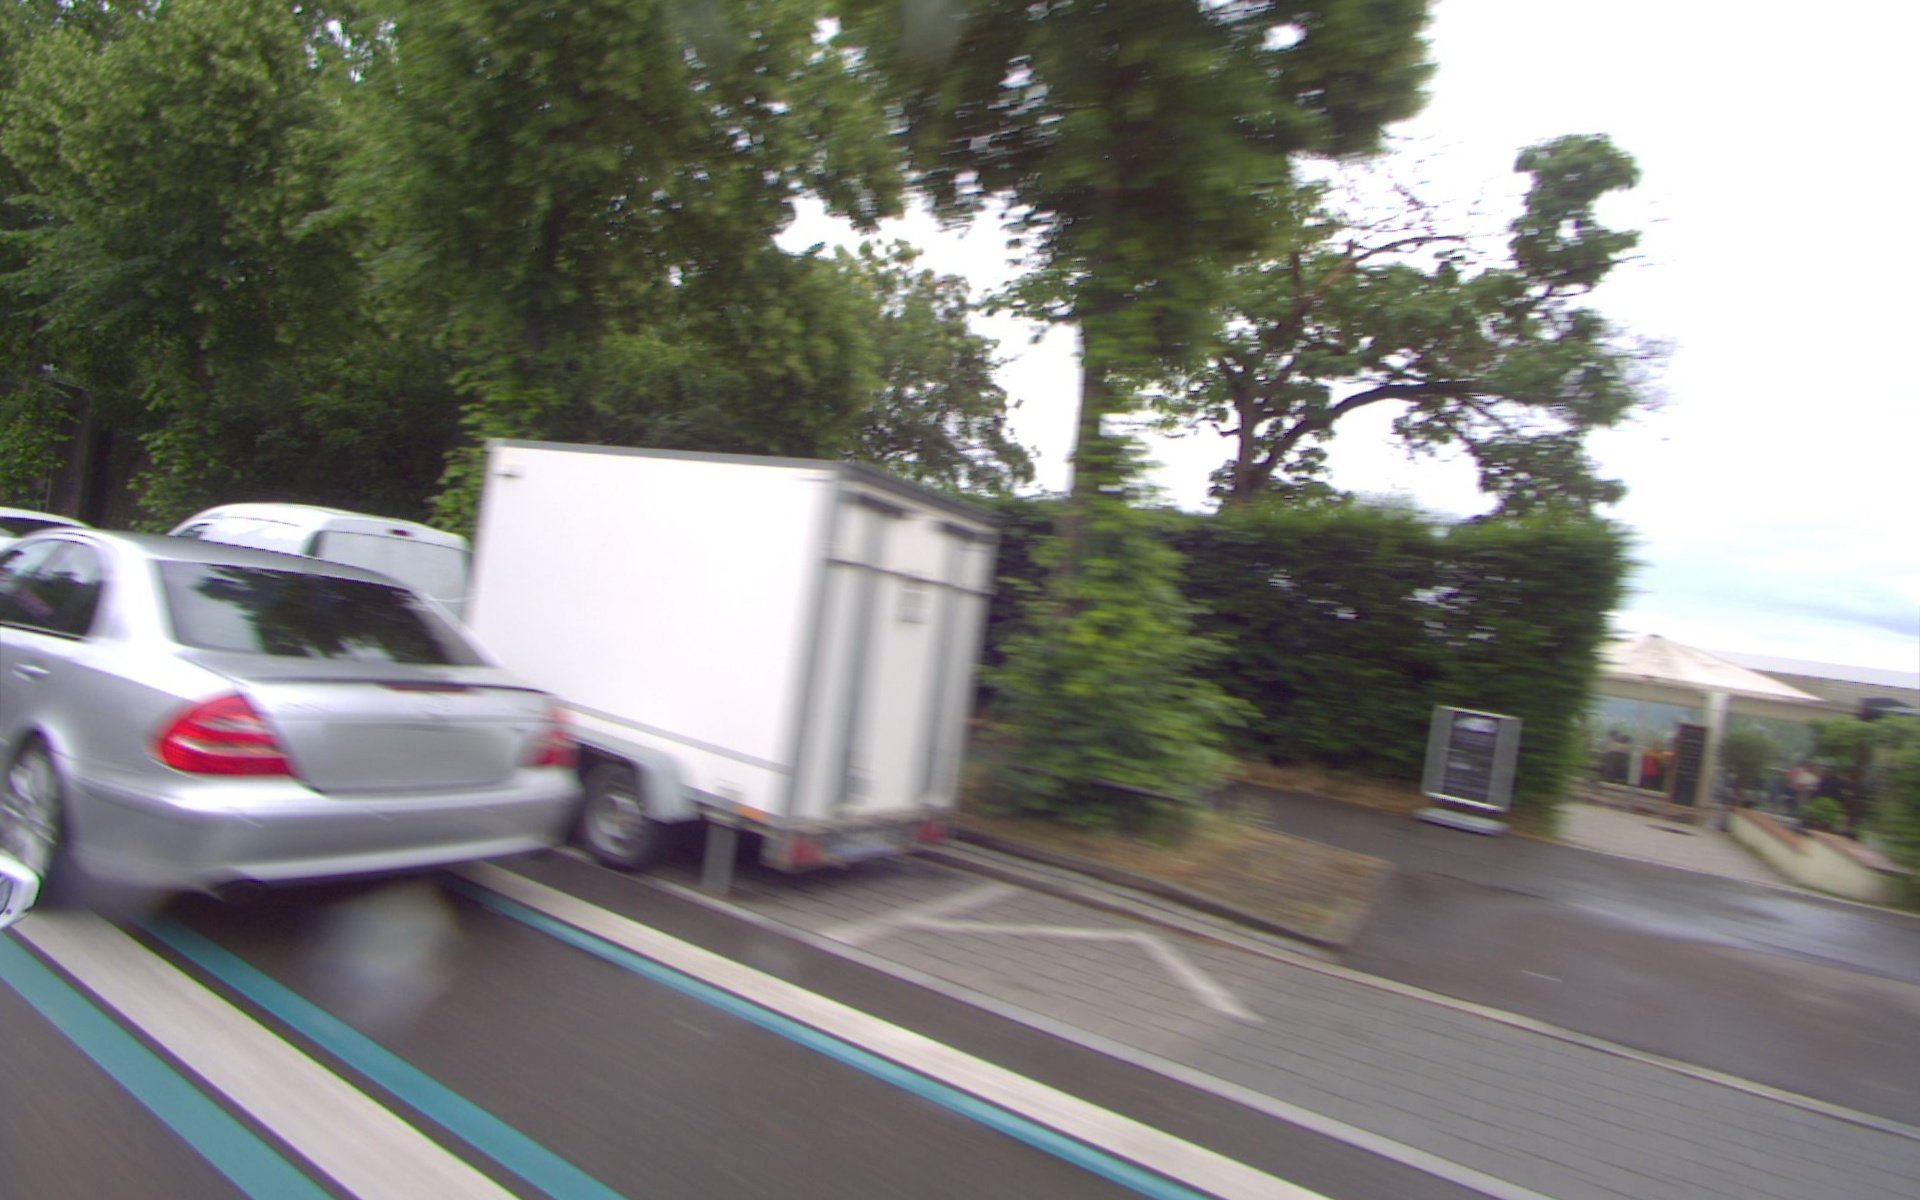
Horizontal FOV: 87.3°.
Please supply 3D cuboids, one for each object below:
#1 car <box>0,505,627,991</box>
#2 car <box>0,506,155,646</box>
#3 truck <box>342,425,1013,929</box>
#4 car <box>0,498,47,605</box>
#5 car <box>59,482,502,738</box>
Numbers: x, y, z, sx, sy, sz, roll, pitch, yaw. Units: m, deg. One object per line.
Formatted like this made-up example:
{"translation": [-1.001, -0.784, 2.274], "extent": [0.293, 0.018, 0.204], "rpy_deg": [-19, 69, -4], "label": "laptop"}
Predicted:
{"translation": [-3.975, 0.369, 5.063], "extent": [4.514, 1.414, 1.725], "rpy_deg": [7, -2, 31], "label": "car"}
{"translation": [-12.384, -0.467, 12.954], "extent": [4.542, 1.442, 1.663], "rpy_deg": [7, -2, 32], "label": "car"}
{"translation": [-1.923, 0.271, 6.518], "extent": [3.933, 2.360, 1.722], "rpy_deg": [7, -2, 32], "label": "truck"}
{"translation": [-16.807, -1.044, 15.914], "extent": [4.563, 1.578, 1.999], "rpy_deg": [7, -2, 29], "label": "car"}
{"translation": [-6.554, 0.036, 9.579], "extent": [4.273, 1.811, 1.726], "rpy_deg": [7, -2, 32], "label": "car"}
